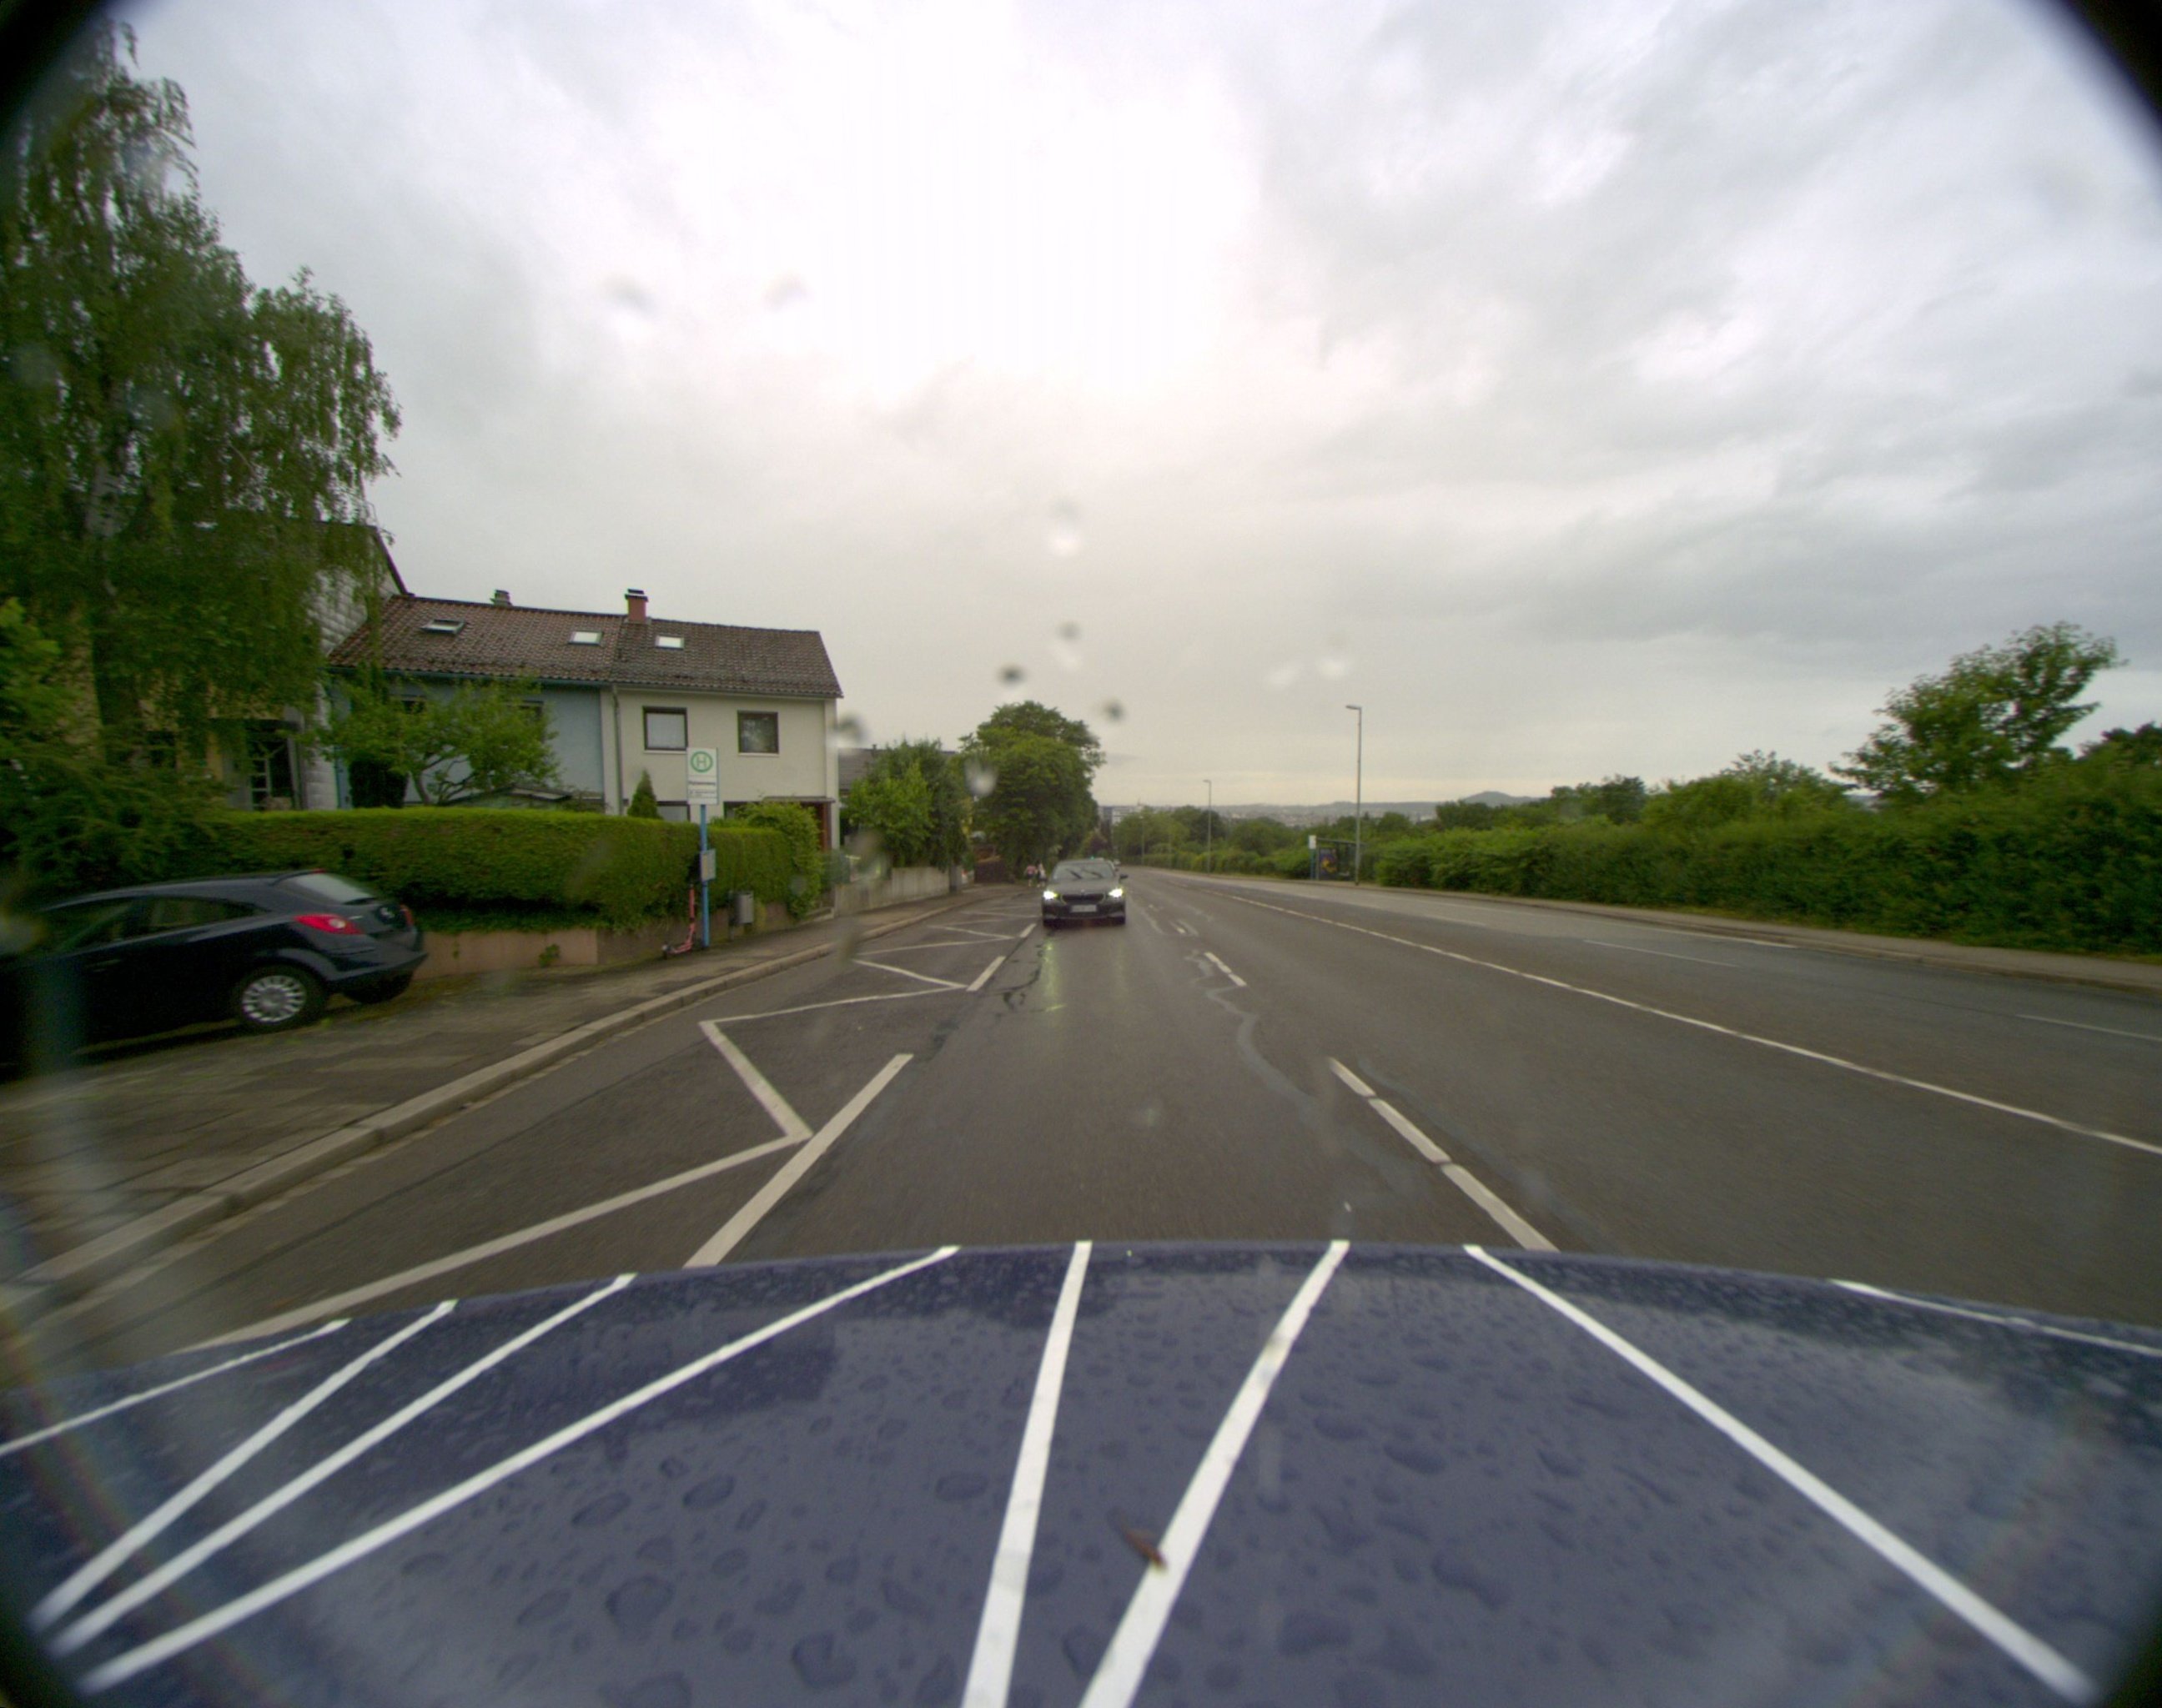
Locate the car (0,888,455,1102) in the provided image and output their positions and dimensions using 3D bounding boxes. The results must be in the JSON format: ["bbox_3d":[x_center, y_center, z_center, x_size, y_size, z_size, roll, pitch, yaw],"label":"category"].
[{"bbox_3d":[-8.343,1.227,6.797,3.709,1.291,1.770,-7,3,-17],"label":"car"}]

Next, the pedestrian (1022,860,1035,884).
[{"bbox_3d":[-2.984,1.015,43.510,0.603,1.347,0.646,0,0,10],"label":"pedestrian"}]

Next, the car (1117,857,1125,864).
[{"bbox_3d":[9.500,1.472,180.236,1.760,1.559,4.000,1,0,0],"label":"car"}]

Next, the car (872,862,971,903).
[{"bbox_3d":[-8.295,1.441,39.566,4.607,1.413,1.786,-9,4,-28],"label":"car"}]

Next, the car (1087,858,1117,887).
[{"bbox_3d":[1.117,0.966,41.637,1.550,1.505,4.283,0,0,1],"label":"car"}]

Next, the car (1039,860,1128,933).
[{"bbox_3d":[-0.023,0.925,18.434,1.846,1.371,4.281,-3,1,-2],"label":"car"}]

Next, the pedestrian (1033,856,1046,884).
[{"bbox_3d":[-2.371,0.893,43.434,0.611,1.584,0.646,0,0,10],"label":"pedestrian"}]

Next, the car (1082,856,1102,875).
[{"bbox_3d":[1.020,1.039,68.921,1.703,1.670,4.284,-1,0,2],"label":"car"}]
